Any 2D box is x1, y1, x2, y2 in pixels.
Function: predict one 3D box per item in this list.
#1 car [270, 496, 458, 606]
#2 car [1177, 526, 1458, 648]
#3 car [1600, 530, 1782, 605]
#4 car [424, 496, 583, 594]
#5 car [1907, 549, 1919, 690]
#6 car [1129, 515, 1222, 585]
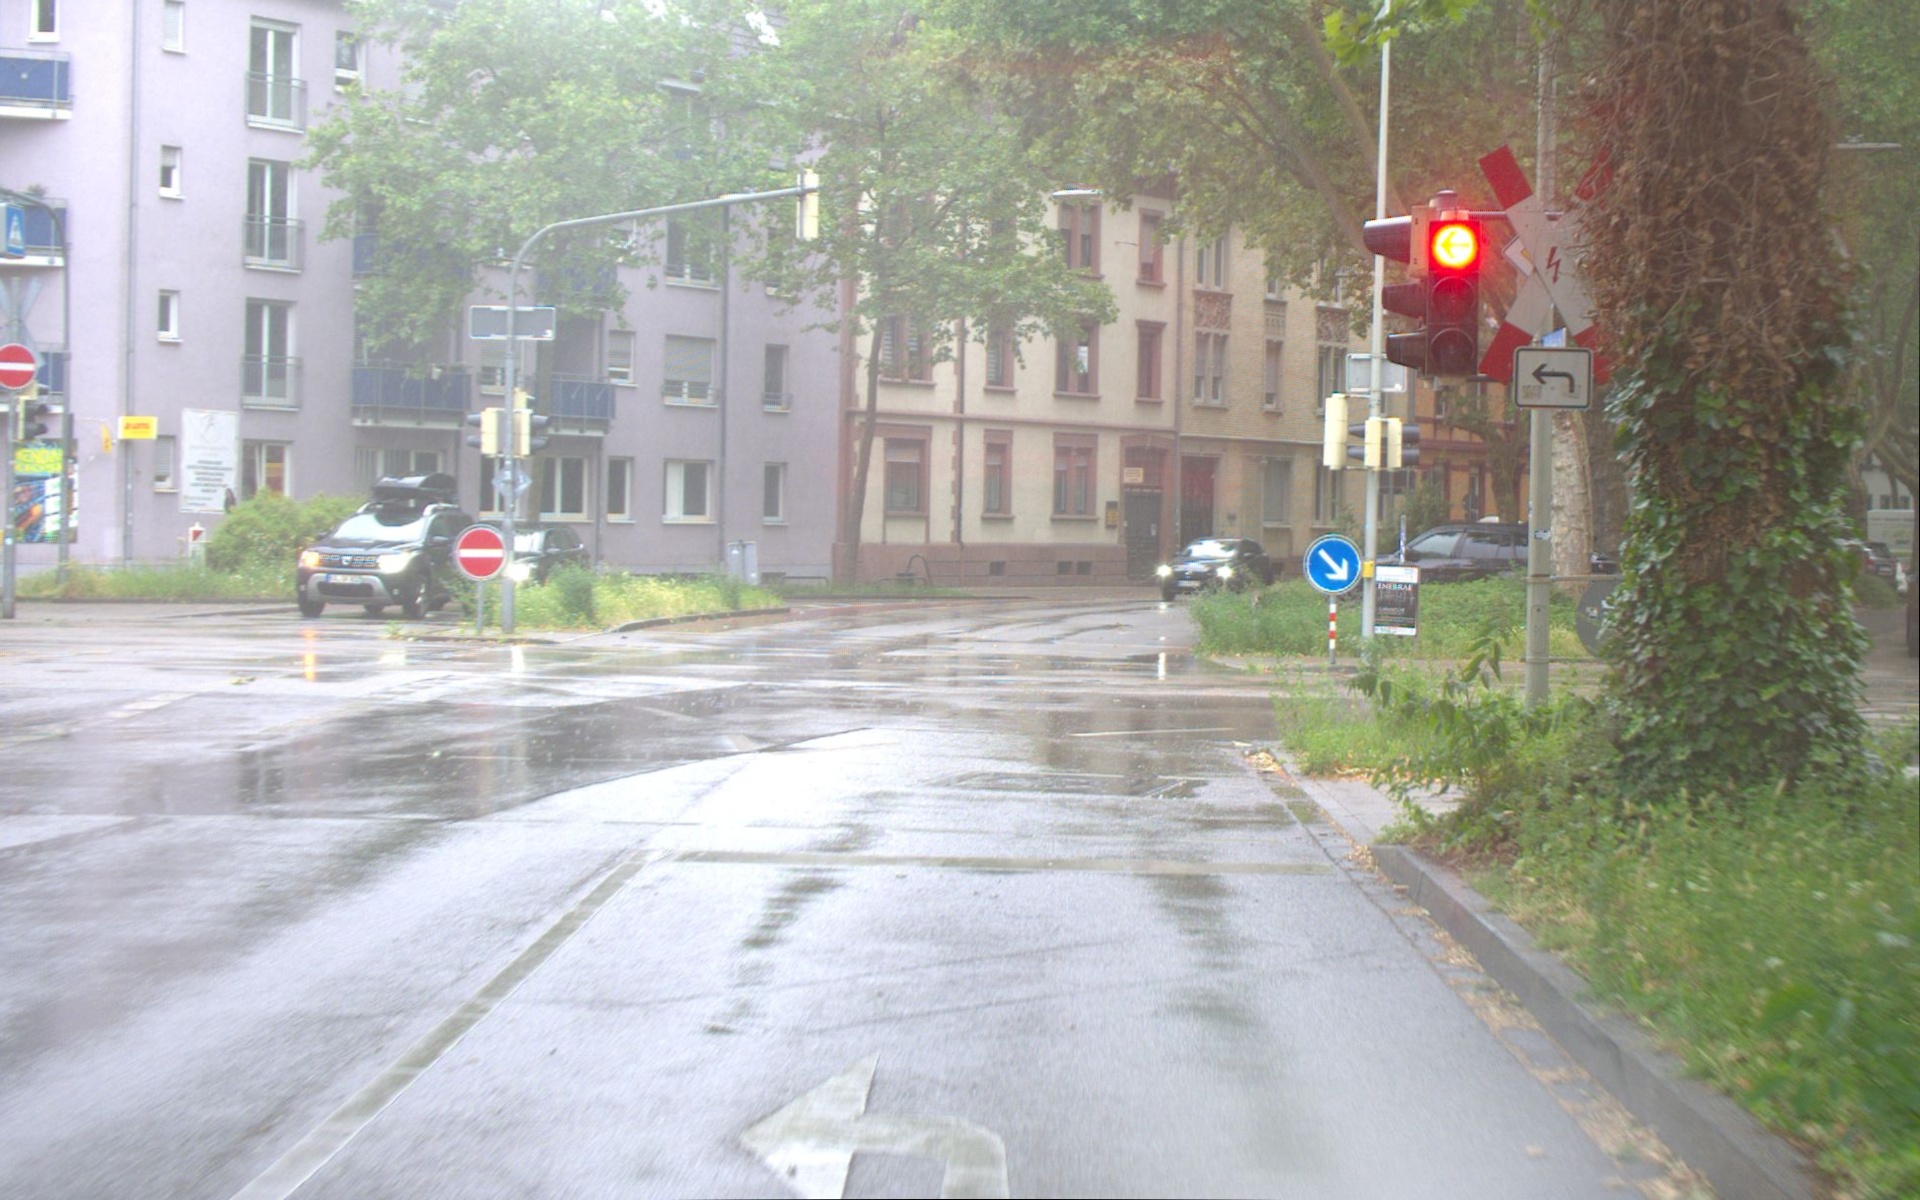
[{"bbox_3d":[-8.659,-0.739,50.213,1.725,1.547,3.559,0,2,7],"label":"car"},{"bbox_3d":[4.601,-0.174,44.064,3.480,1.518,1.519,0,1,10],"label":"car"},{"bbox_3d":[16.221,-0.736,76.292,3.612,1.612,1.679,0,2,30],"label":"car"},{"bbox_3d":[-7.441,-0.915,56.299,1.725,1.547,3.559,0,2,7],"label":"car"},{"bbox_3d":[15.374,0.255,51.784,1.995,2.007,3.997,0,2,17],"label":"car"},{"bbox_3d":[4.943,-1.164,78.552,1.603,1.547,3.558,0,2,12],"label":"car"}]
